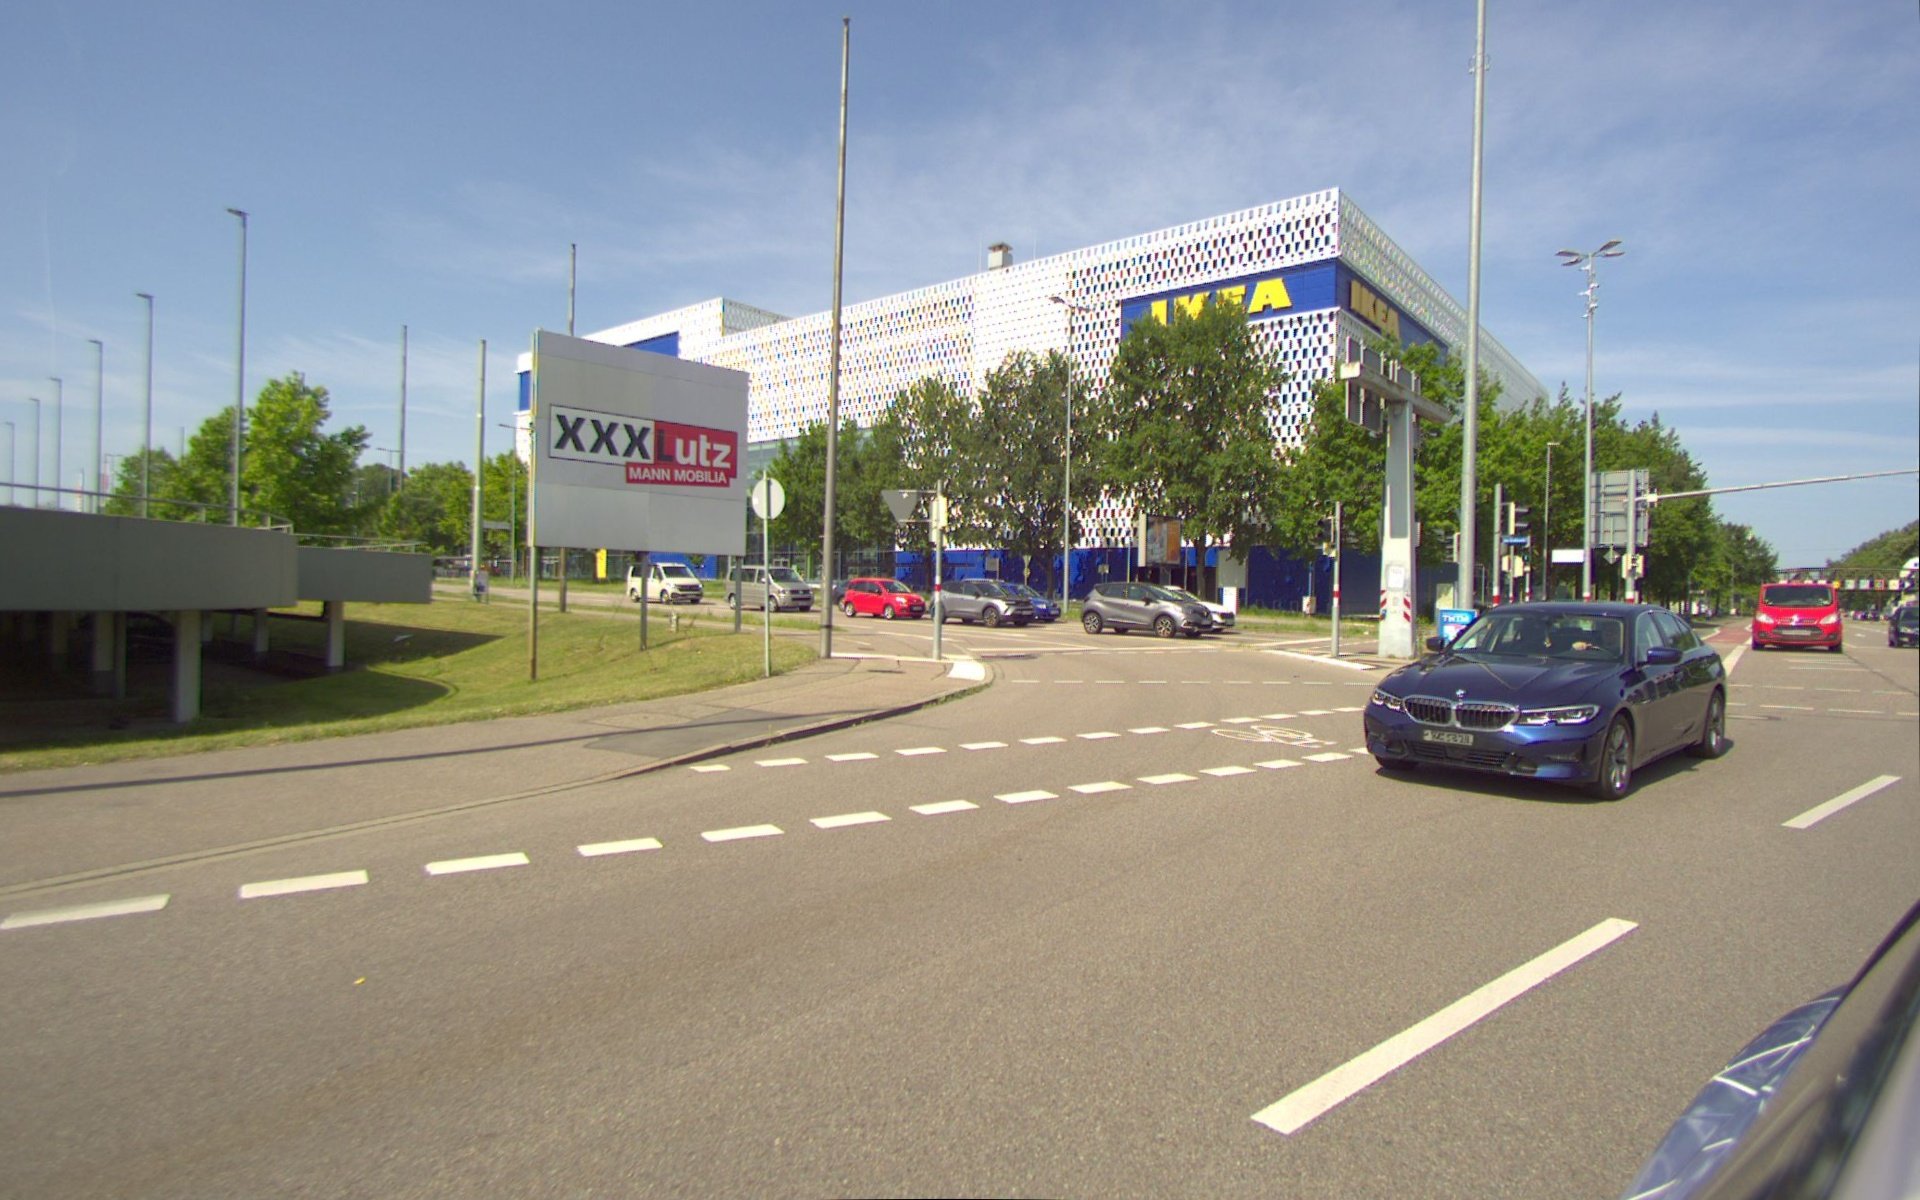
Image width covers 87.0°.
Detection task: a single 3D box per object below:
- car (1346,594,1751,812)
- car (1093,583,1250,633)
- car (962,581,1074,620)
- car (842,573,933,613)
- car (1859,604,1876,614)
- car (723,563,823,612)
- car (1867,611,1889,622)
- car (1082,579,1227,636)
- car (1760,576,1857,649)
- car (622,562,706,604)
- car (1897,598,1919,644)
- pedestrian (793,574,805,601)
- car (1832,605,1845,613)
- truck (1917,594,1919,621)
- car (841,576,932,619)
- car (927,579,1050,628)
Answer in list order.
[{"bbox_3d":[5.363,0.681,8.944,4.459,1.447,1.798,0,0,-41],"label":"car"},{"bbox_3d":[6.833,0.207,33.023,4.717,1.443,1.928,2,2,44],"label":"car"},{"bbox_3d":[2.133,-0.011,38.004,4.043,1.359,1.697,1,1,43],"label":"car"},{"bbox_3d":[-3.164,-0.331,43.576,1.656,1.640,4.120,0,1,-44],"label":"car"},{"bbox_3d":[144.025,1.482,160.616,1.726,1.456,3.814,3,2,39],"label":"car"},{"bbox_3d":[-8.161,-0.591,43.855,4.675,2.000,1.932,2,2,44],"label":"car"},{"bbox_3d":[128.906,2.288,142.073,1.843,1.478,4.600,4,2,38],"label":"car"},{"bbox_3d":[5.703,0.185,29.970,3.886,1.578,1.779,1,0,45],"label":"car"},{"bbox_3d":[24.441,0.333,29.243,2.006,1.931,4.741,0,0,39],"label":"car"},{"bbox_3d":[-14.653,-0.848,50.011,4.774,1.960,1.884,1,1,44],"label":"car"},{"bbox_3d":[33.730,0.720,35.076,1.553,1.528,3.785,-1,-1,39],"label":"car"},{"bbox_3d":[-12.517,-0.983,78.840,0.595,2.039,0.676,-2,-1,26],"label":"pedestrian"},{"bbox_3d":[166.218,1.737,191.409,1.860,1.531,3.939,1,0,42],"label":"car"},{"bbox_3d":[94.006,0.682,96.848,2.366,2.658,6.592,0,-1,33],"label":"truck"},{"bbox_3d":[-2.851,-0.115,38.841,3.471,1.595,1.573,1,0,45],"label":"car"},{"bbox_3d":[0.938,0.075,35.029,4.028,1.527,1.879,2,2,43],"label":"car"}]
